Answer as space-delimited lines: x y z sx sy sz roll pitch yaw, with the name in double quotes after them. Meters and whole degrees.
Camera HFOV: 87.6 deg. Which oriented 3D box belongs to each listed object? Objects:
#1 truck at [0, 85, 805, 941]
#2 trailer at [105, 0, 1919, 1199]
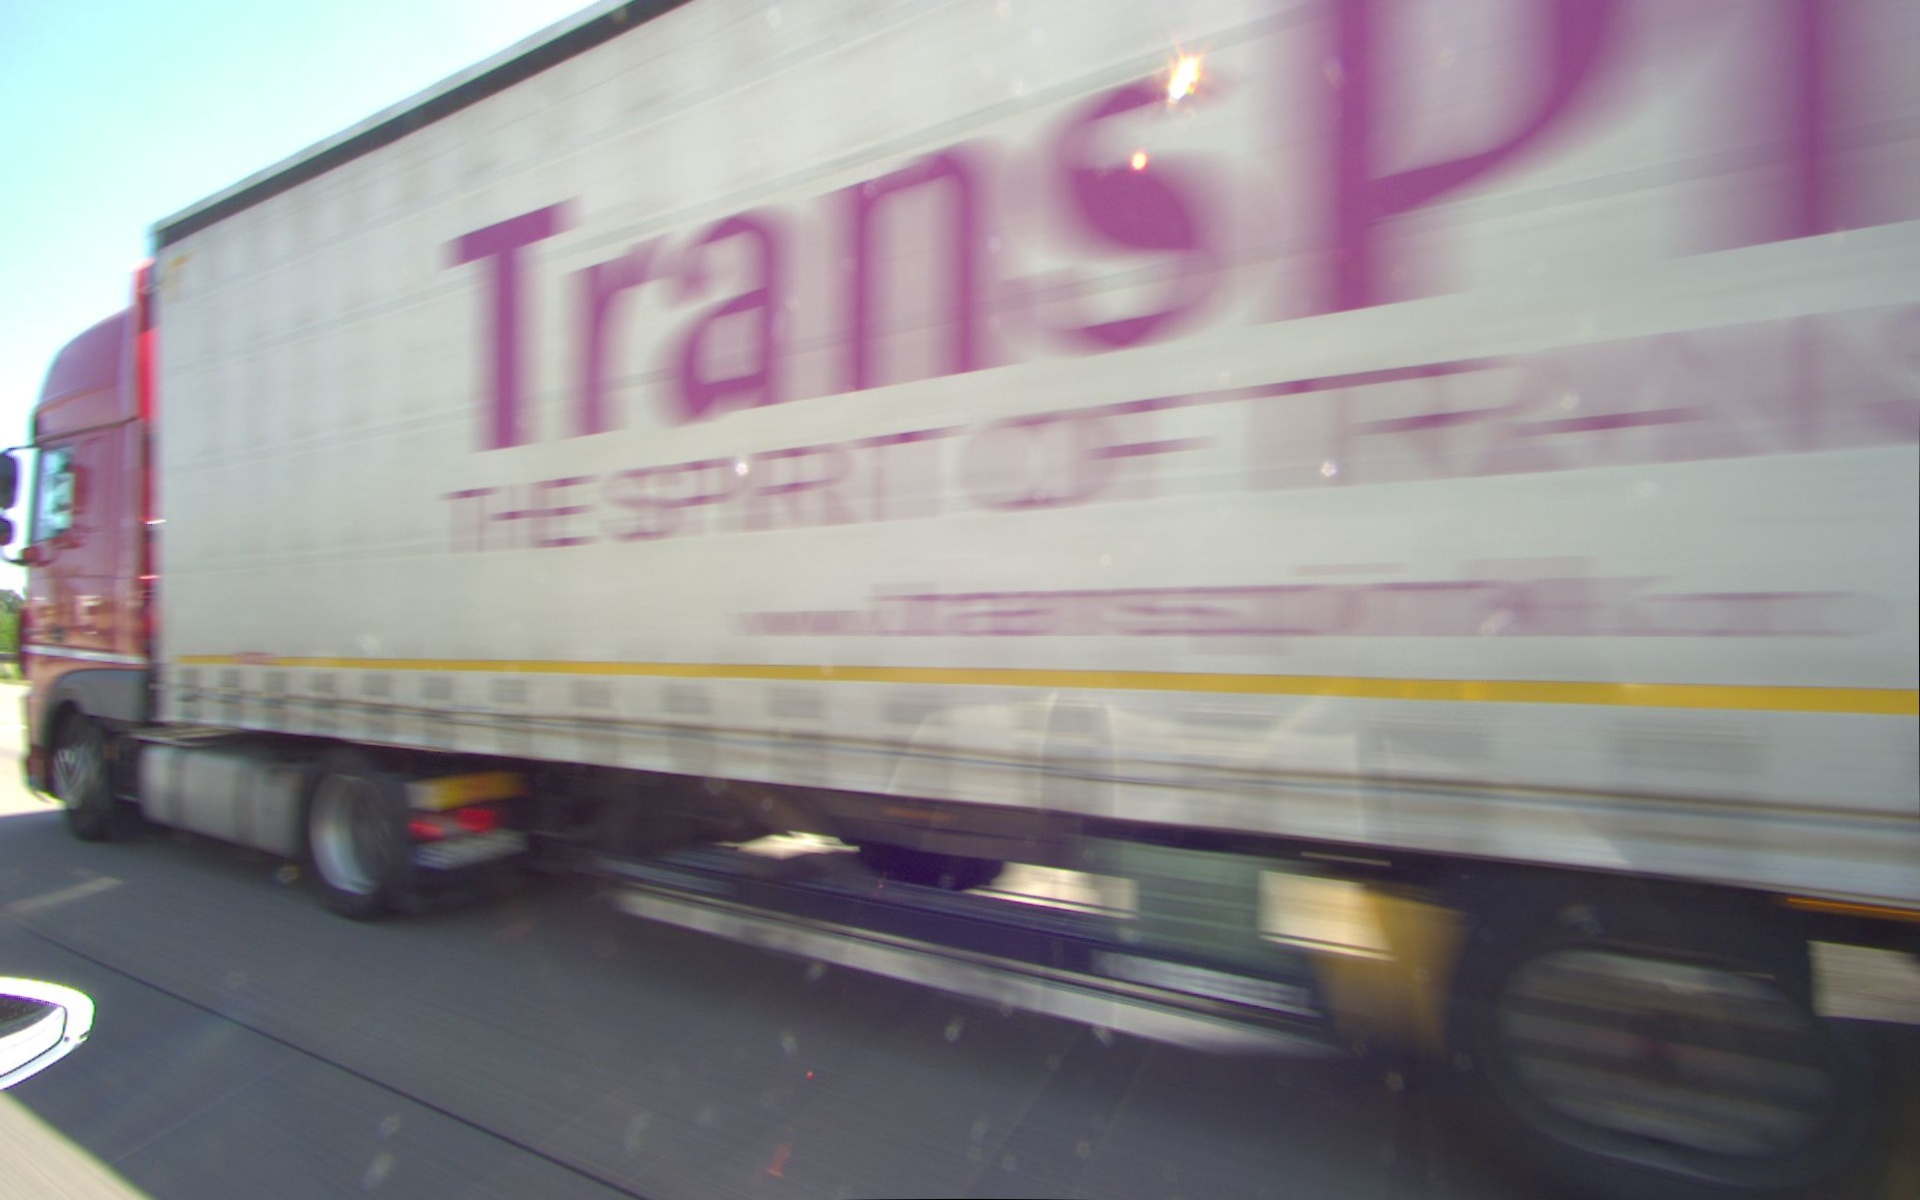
-4.592 -0.323 7.697 6.417 4.060 2.911 -1 -1 32 "truck"
0.996 -0.492 4.122 13.659 4.170 2.914 -1 -1 32 "trailer"
